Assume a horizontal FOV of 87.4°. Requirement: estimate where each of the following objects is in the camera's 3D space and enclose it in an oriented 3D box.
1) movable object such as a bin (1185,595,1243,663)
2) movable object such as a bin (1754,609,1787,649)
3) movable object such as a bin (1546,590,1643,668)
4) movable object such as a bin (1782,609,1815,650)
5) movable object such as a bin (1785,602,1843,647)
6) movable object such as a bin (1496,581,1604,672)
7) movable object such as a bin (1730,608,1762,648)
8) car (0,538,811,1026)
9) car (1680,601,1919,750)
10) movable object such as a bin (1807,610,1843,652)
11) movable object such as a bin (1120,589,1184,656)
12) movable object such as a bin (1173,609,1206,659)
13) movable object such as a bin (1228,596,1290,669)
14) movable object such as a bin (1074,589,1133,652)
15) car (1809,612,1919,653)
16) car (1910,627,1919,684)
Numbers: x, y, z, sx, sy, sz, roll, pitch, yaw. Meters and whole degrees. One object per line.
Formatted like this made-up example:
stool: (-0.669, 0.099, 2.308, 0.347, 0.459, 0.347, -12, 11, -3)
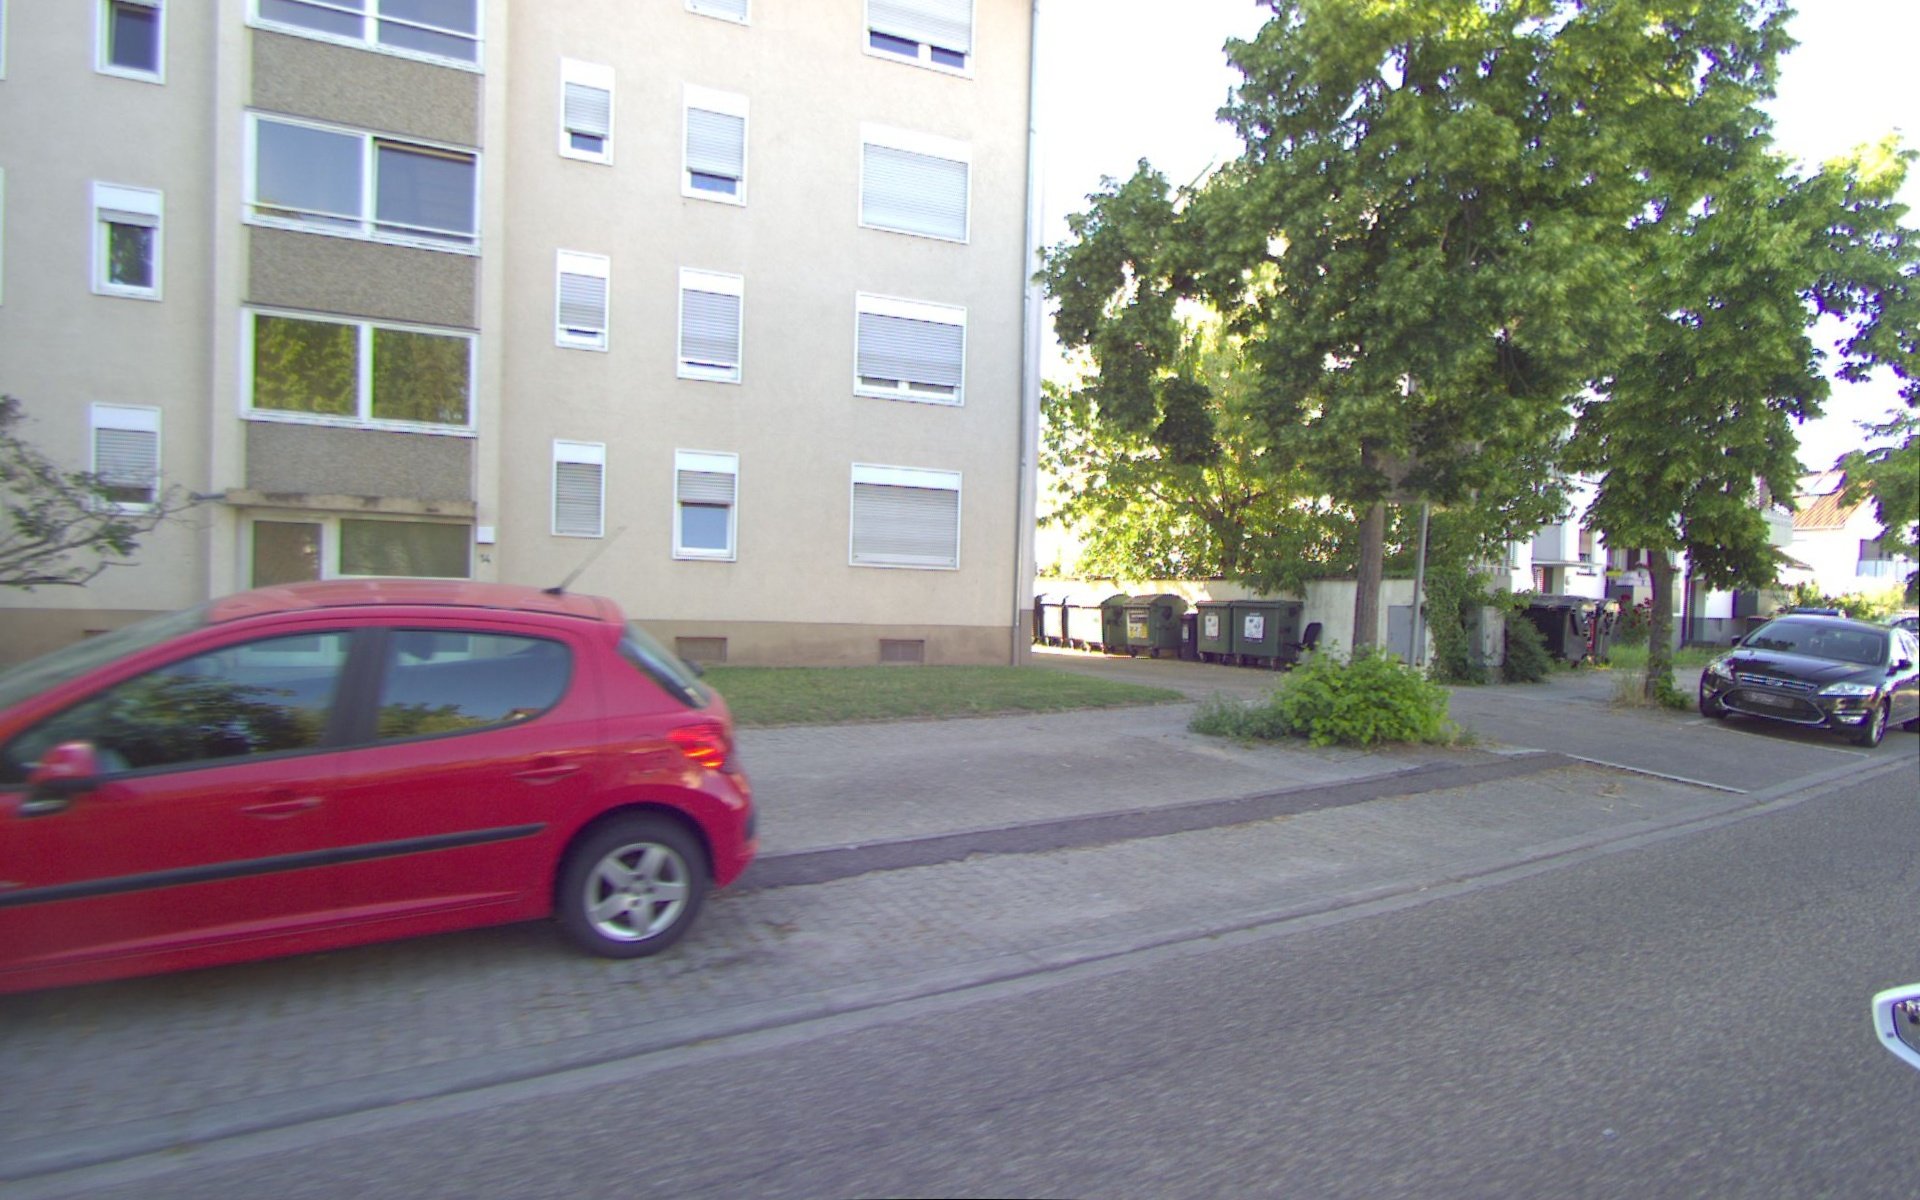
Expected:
movable object such as a bin: (5.248, 0.583, 20.817, 0.560, 1.334, 1.116, -3, 3, -27)
movable object such as a bin: (26.876, 0.949, 33.309, 0.664, 1.296, 0.635, 1, 1, -33)
movable object such as a bin: (13.489, 0.604, 21.372, 1.313, 1.564, 1.282, 1, 1, -34)
movable object such as a bin: (27.260, 0.958, 32.660, 0.664, 1.296, 0.635, 1, 1, -33)
movable object such as a bin: (29.673, 0.838, 34.910, 1.104, 1.502, 1.224, 1, 1, -33)
movable object such as a bin: (11.662, 0.504, 19.886, 1.254, 1.685, 1.404, 1, 1, -34)
movable object such as a bin: (26.513, 0.940, 33.891, 0.664, 1.296, 0.635, 1, 1, -33)
car: (-2.771, 0.577, 4.310, 3.859, 1.514, 1.650, 1, 4, -28)
car: (11.586, 0.908, 13.537, 4.503, 1.514, 1.708, 1, 6, -38)
movable object such as a bin: (27.646, 0.989, 32.095, 0.664, 1.296, 0.683, 1, 1, -33)
movable object such as a bin: (4.379, 0.490, 22.952, 0.943, 1.452, 1.116, -3, 3, -28)
movable object such as a bin: (4.972, 0.724, 21.806, 0.479, 1.028, 0.505, -3, 3, -28)
movable object such as a bin: (5.841, 0.613, 19.634, 0.560, 1.334, 1.085, -3, 3, -27)
movable object such as a bin: (3.502, 0.474, 24.566, 0.926, 1.452, 1.116, -3, 3, -28)
car: (38.953, 1.386, 42.584, 4.300, 1.534, 1.615, 2, 1, 4)
car: (21.708, 1.046, 21.002, 3.868, 1.614, 1.711, 2, 6, -34)
